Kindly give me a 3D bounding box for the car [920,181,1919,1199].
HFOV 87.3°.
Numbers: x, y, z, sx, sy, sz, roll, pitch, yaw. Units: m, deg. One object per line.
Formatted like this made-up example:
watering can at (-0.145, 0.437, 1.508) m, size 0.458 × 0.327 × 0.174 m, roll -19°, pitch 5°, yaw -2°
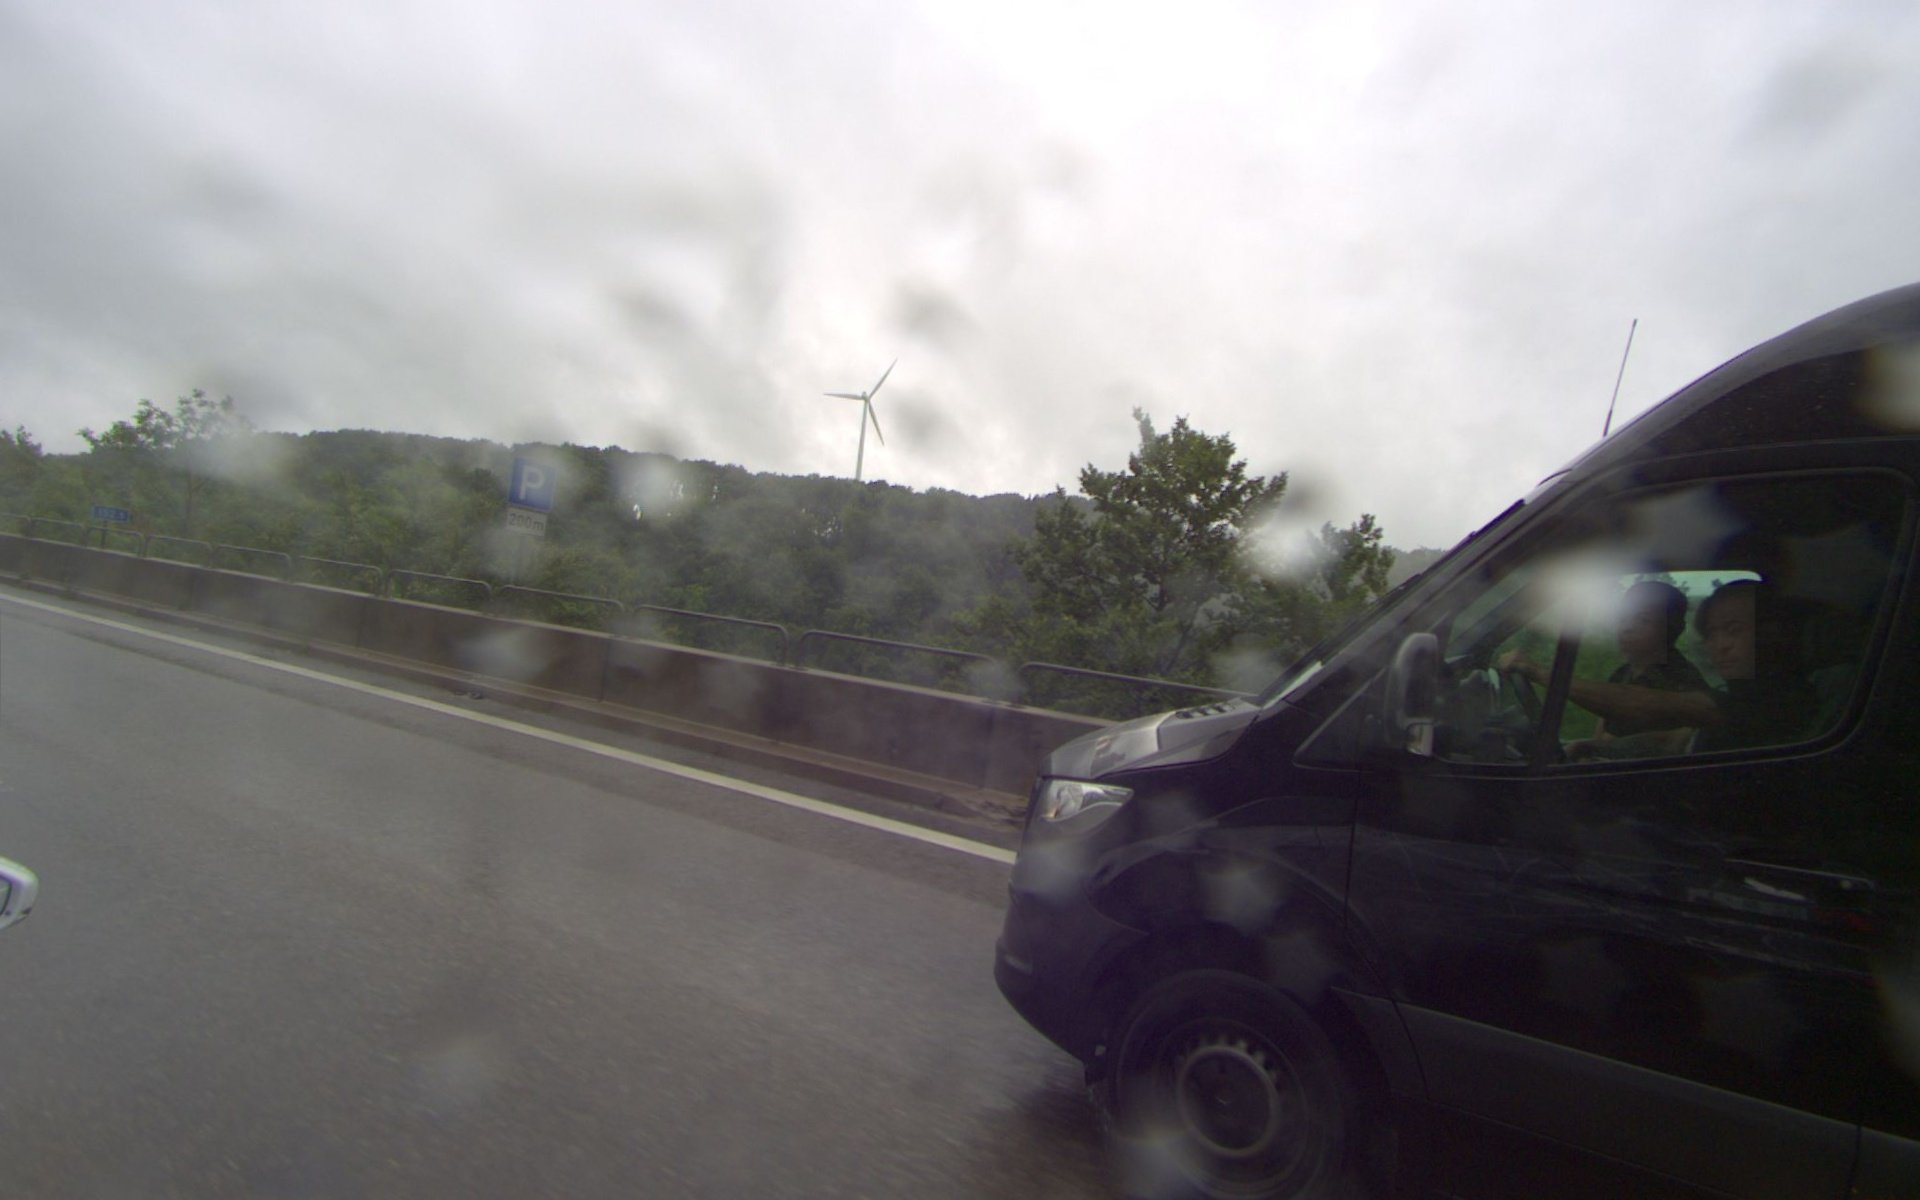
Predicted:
car at (3.316, 0.652, 2.119) m, size 6.594 × 2.524 × 1.996 m, roll 7°, pitch -1°, yaw 32°
